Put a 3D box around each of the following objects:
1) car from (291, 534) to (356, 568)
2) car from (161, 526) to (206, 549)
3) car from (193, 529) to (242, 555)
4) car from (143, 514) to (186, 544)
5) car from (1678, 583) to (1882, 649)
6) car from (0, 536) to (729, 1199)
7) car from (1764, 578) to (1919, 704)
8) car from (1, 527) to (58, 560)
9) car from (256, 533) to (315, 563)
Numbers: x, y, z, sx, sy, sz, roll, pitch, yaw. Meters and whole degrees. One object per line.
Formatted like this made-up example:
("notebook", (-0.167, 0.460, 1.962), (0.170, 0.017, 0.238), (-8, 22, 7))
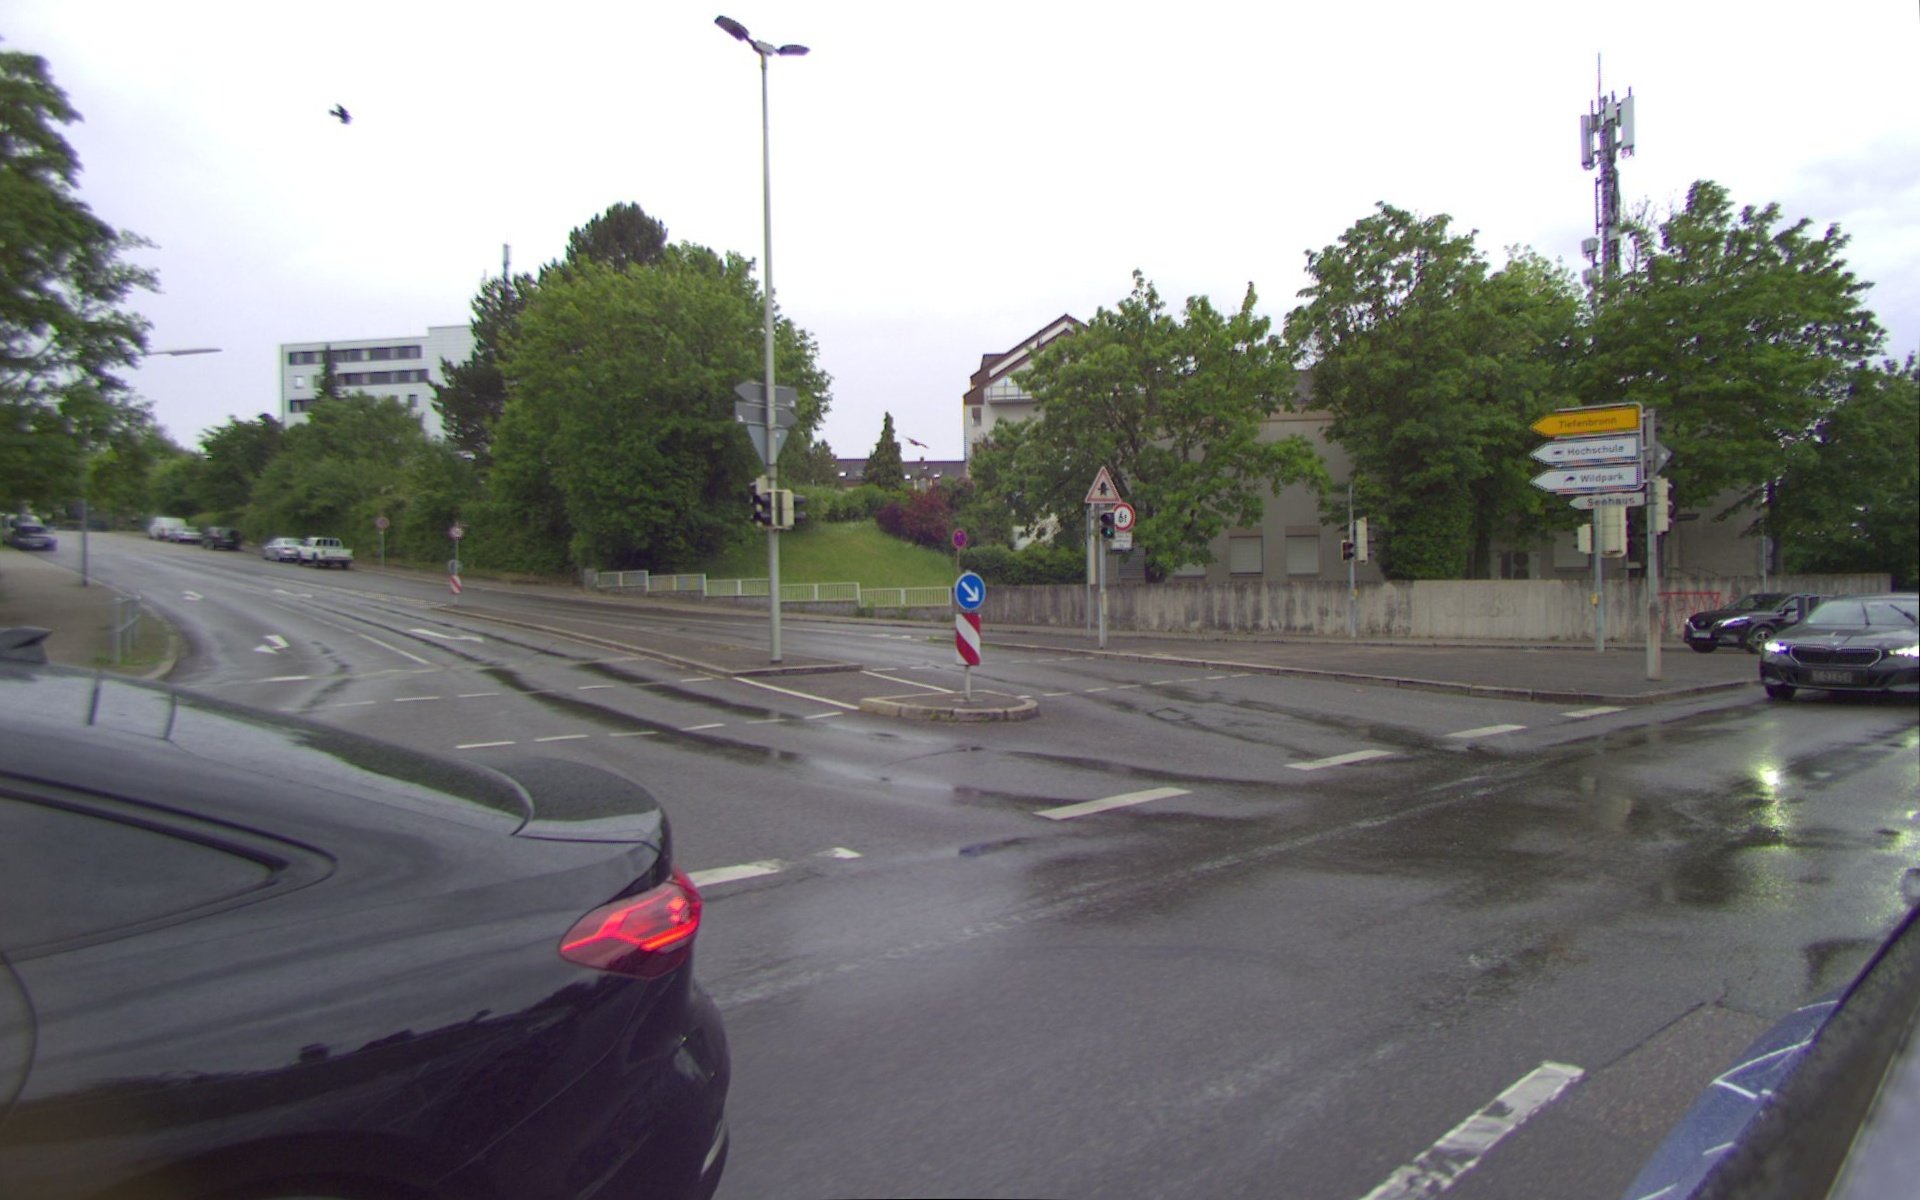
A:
("car", (-36.955, -2.859, 58.741), (4.190, 1.900, 1.973), (2, 3, 39))
("car", (-63.012, -5.028, 82.109), (3.980, 1.828, 1.973), (2, 3, 39))
("car", (-54.566, -4.244, 74.336), (3.980, 1.828, 1.973), (2, 3, 39))
("car", (-67.229, -5.985, 85.501), (3.980, 2.417, 1.973), (2, 3, 39))
("car", (20.920, 0.385, 25.911), (3.921, 1.571, 1.696), (-1, 1, -4))
("car", (-2.763, 0.673, 0.961), (4.658, 1.442, 1.869), (-2, 1, -42))
("car", (13.219, 0.479, 14.346), (3.925, 1.538, 1.873), (-2, 1, -36))
("car", (-57.169, -3.428, 62.154), (3.980, 1.964, 1.973), (2, 3, 39))
("car", (-42.162, -3.215, 63.209), (3.980, 1.828, 1.973), (2, 3, 39))
